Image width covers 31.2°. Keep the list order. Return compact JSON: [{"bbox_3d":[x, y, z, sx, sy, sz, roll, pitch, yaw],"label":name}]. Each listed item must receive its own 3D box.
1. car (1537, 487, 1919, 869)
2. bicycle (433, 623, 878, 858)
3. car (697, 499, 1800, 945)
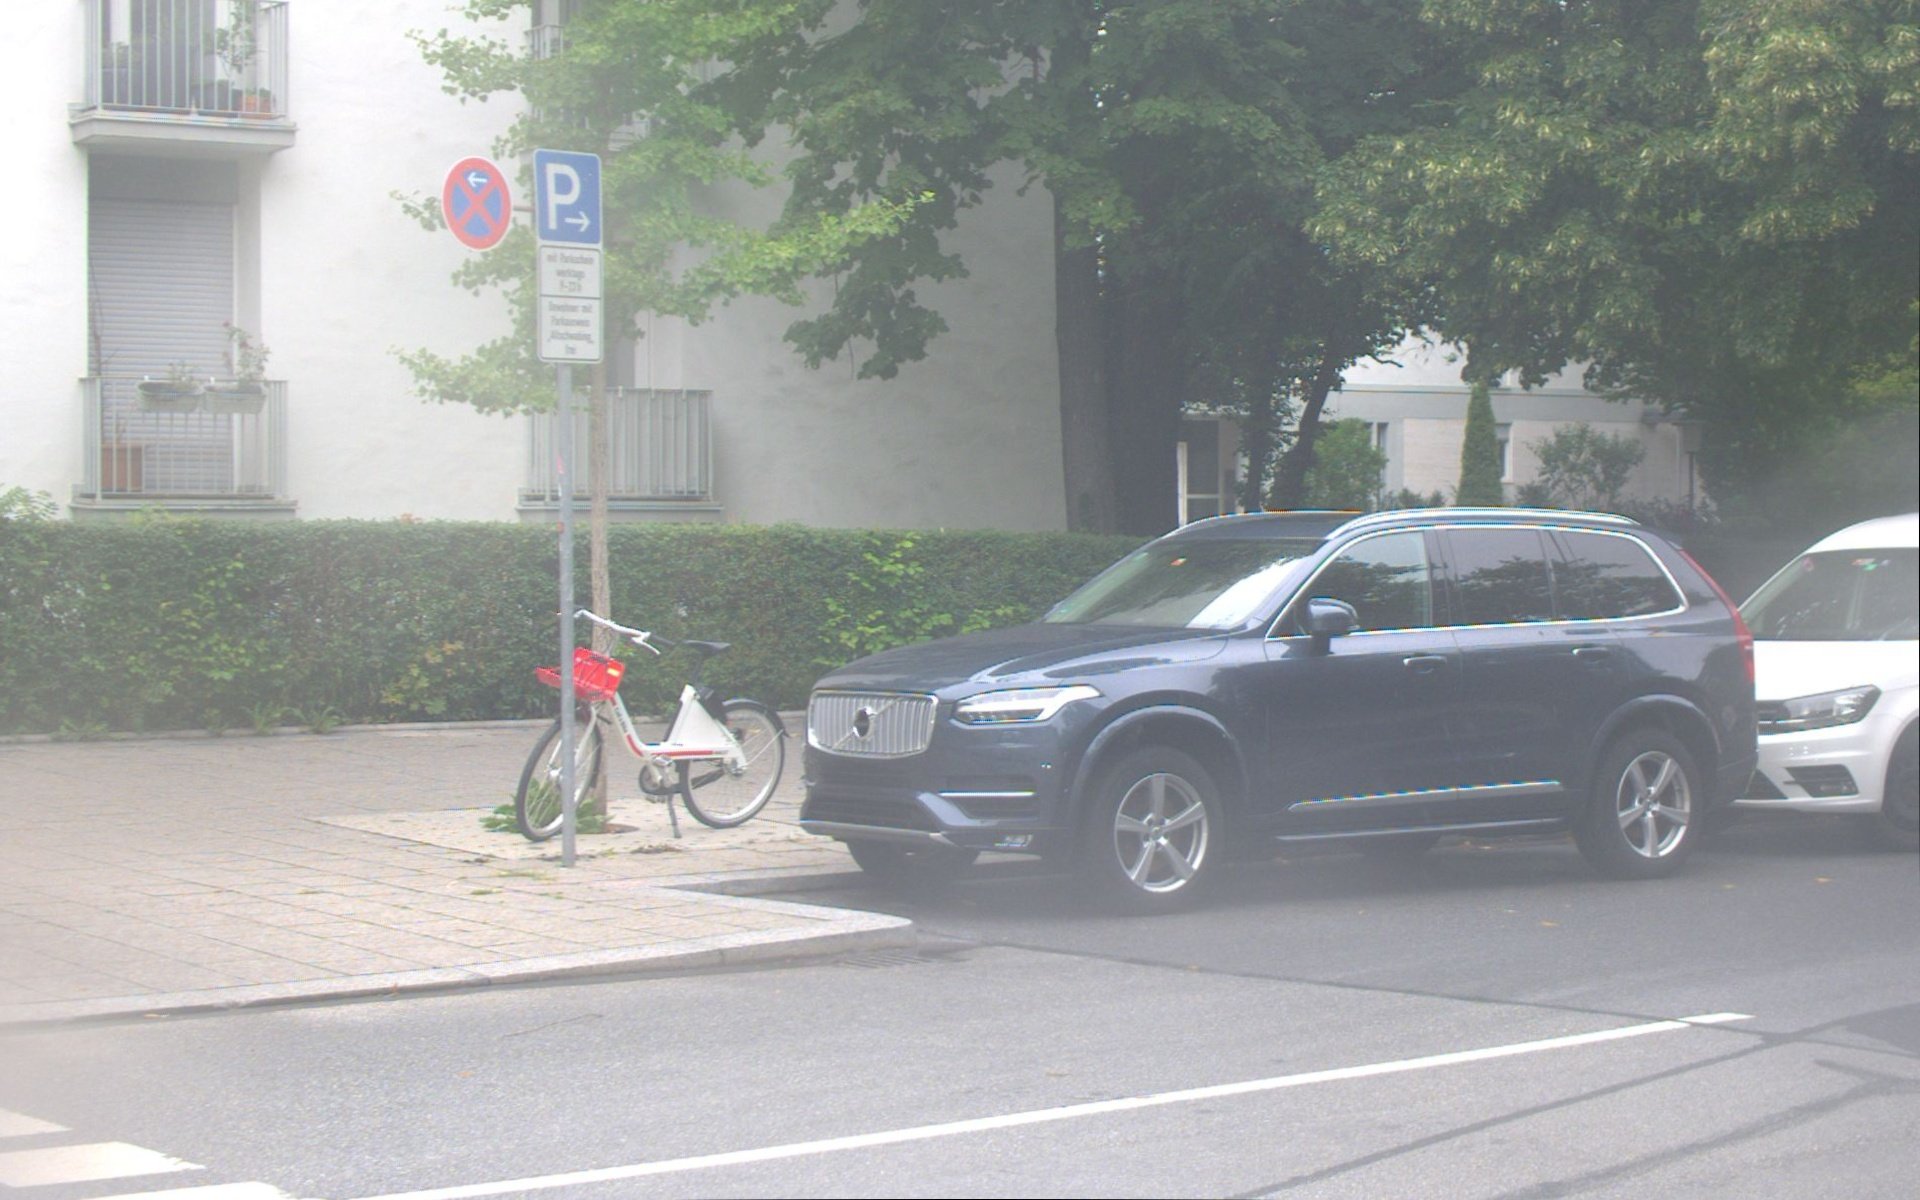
[{"bbox_3d":[5.638,0.347,19.231,4.853,1.888,1.932,0,2,-37],"label":"car"},{"bbox_3d":[-1.474,0.654,16.782,1.965,1.048,0.914,0,1,-35],"label":"bicycle"},{"bbox_3d":[1.426,0.446,15.869,4.892,1.761,2.071,0,2,-36],"label":"car"}]
